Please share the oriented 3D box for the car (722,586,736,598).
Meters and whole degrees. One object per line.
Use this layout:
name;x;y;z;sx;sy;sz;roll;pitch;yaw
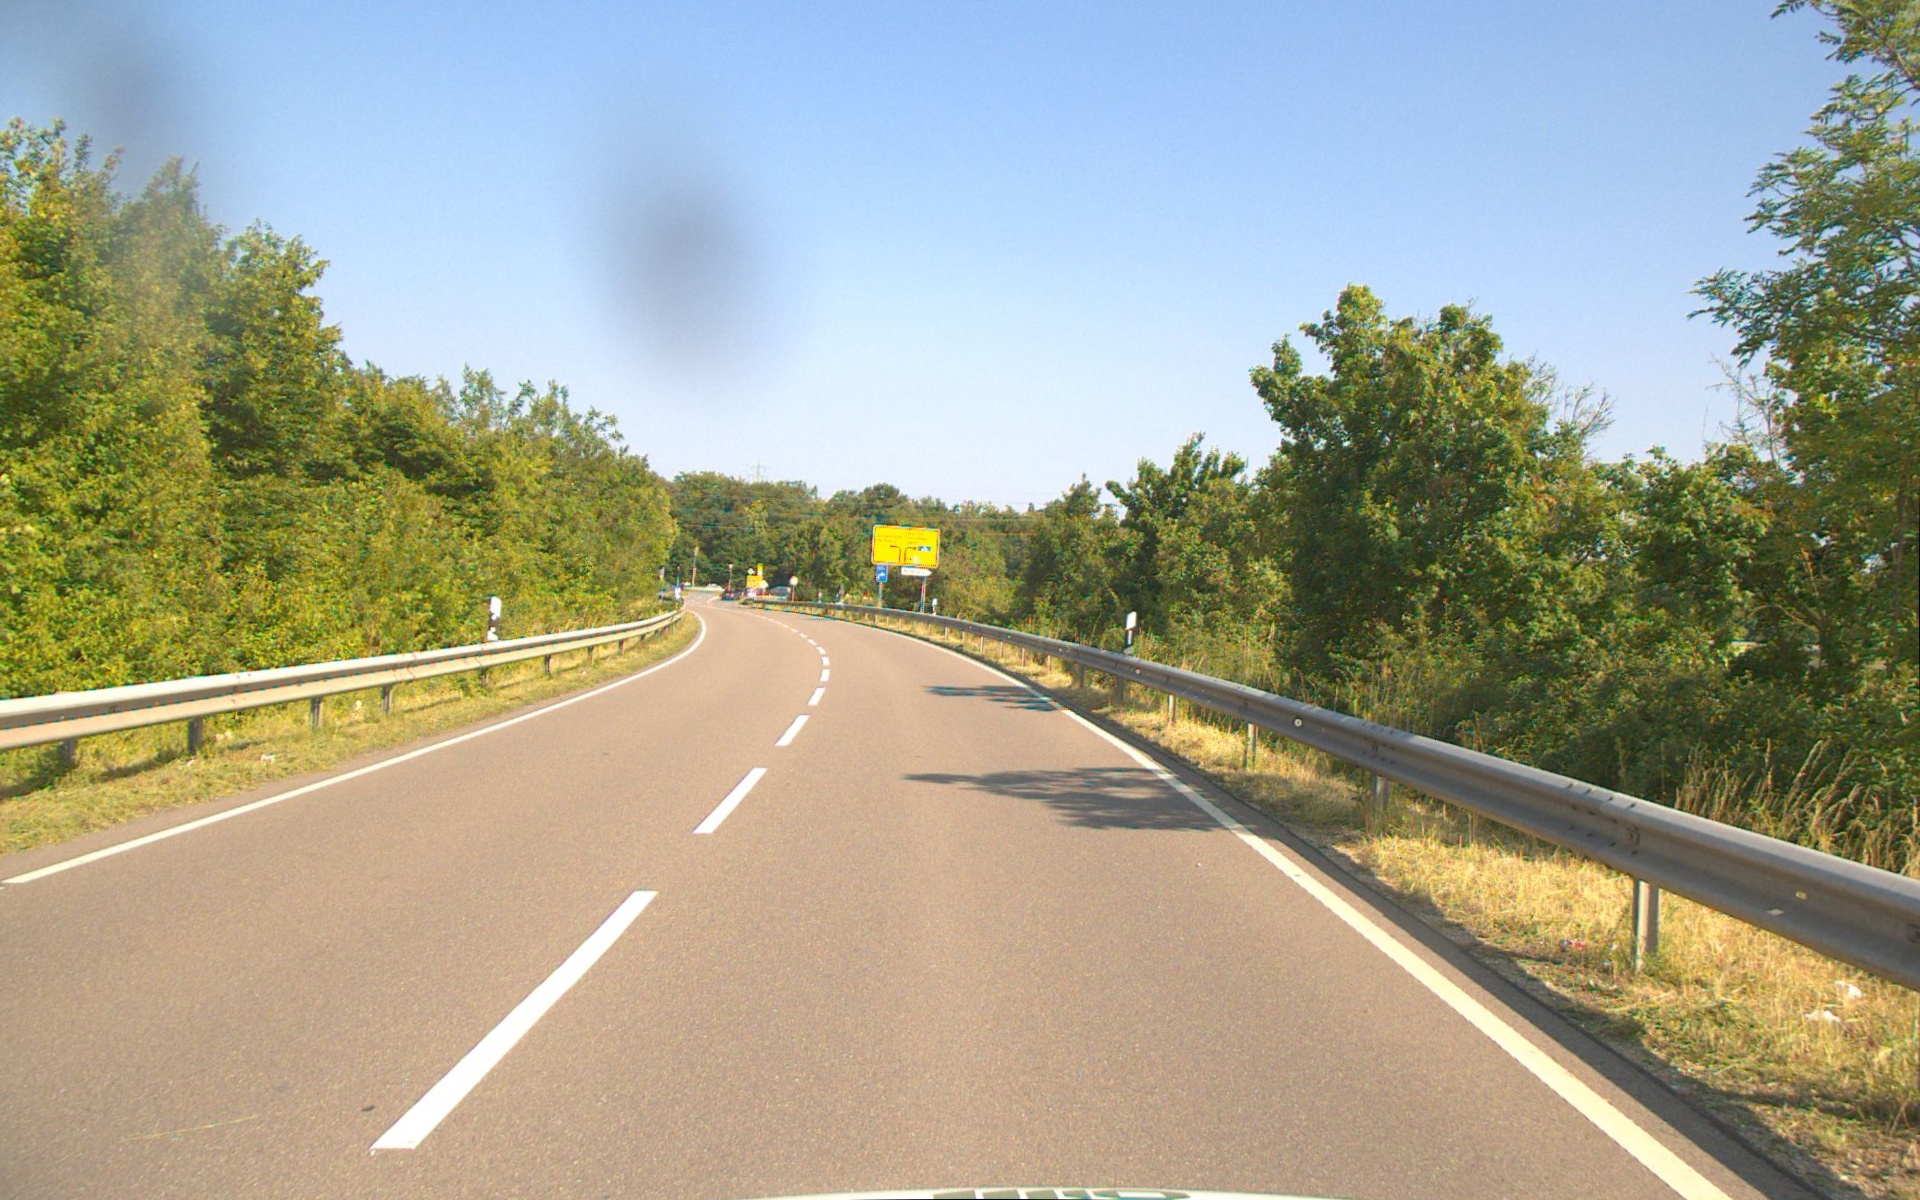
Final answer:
car;-31.446;-1.068;225.204;1.765;1.422;3.995;-5;1;-6
